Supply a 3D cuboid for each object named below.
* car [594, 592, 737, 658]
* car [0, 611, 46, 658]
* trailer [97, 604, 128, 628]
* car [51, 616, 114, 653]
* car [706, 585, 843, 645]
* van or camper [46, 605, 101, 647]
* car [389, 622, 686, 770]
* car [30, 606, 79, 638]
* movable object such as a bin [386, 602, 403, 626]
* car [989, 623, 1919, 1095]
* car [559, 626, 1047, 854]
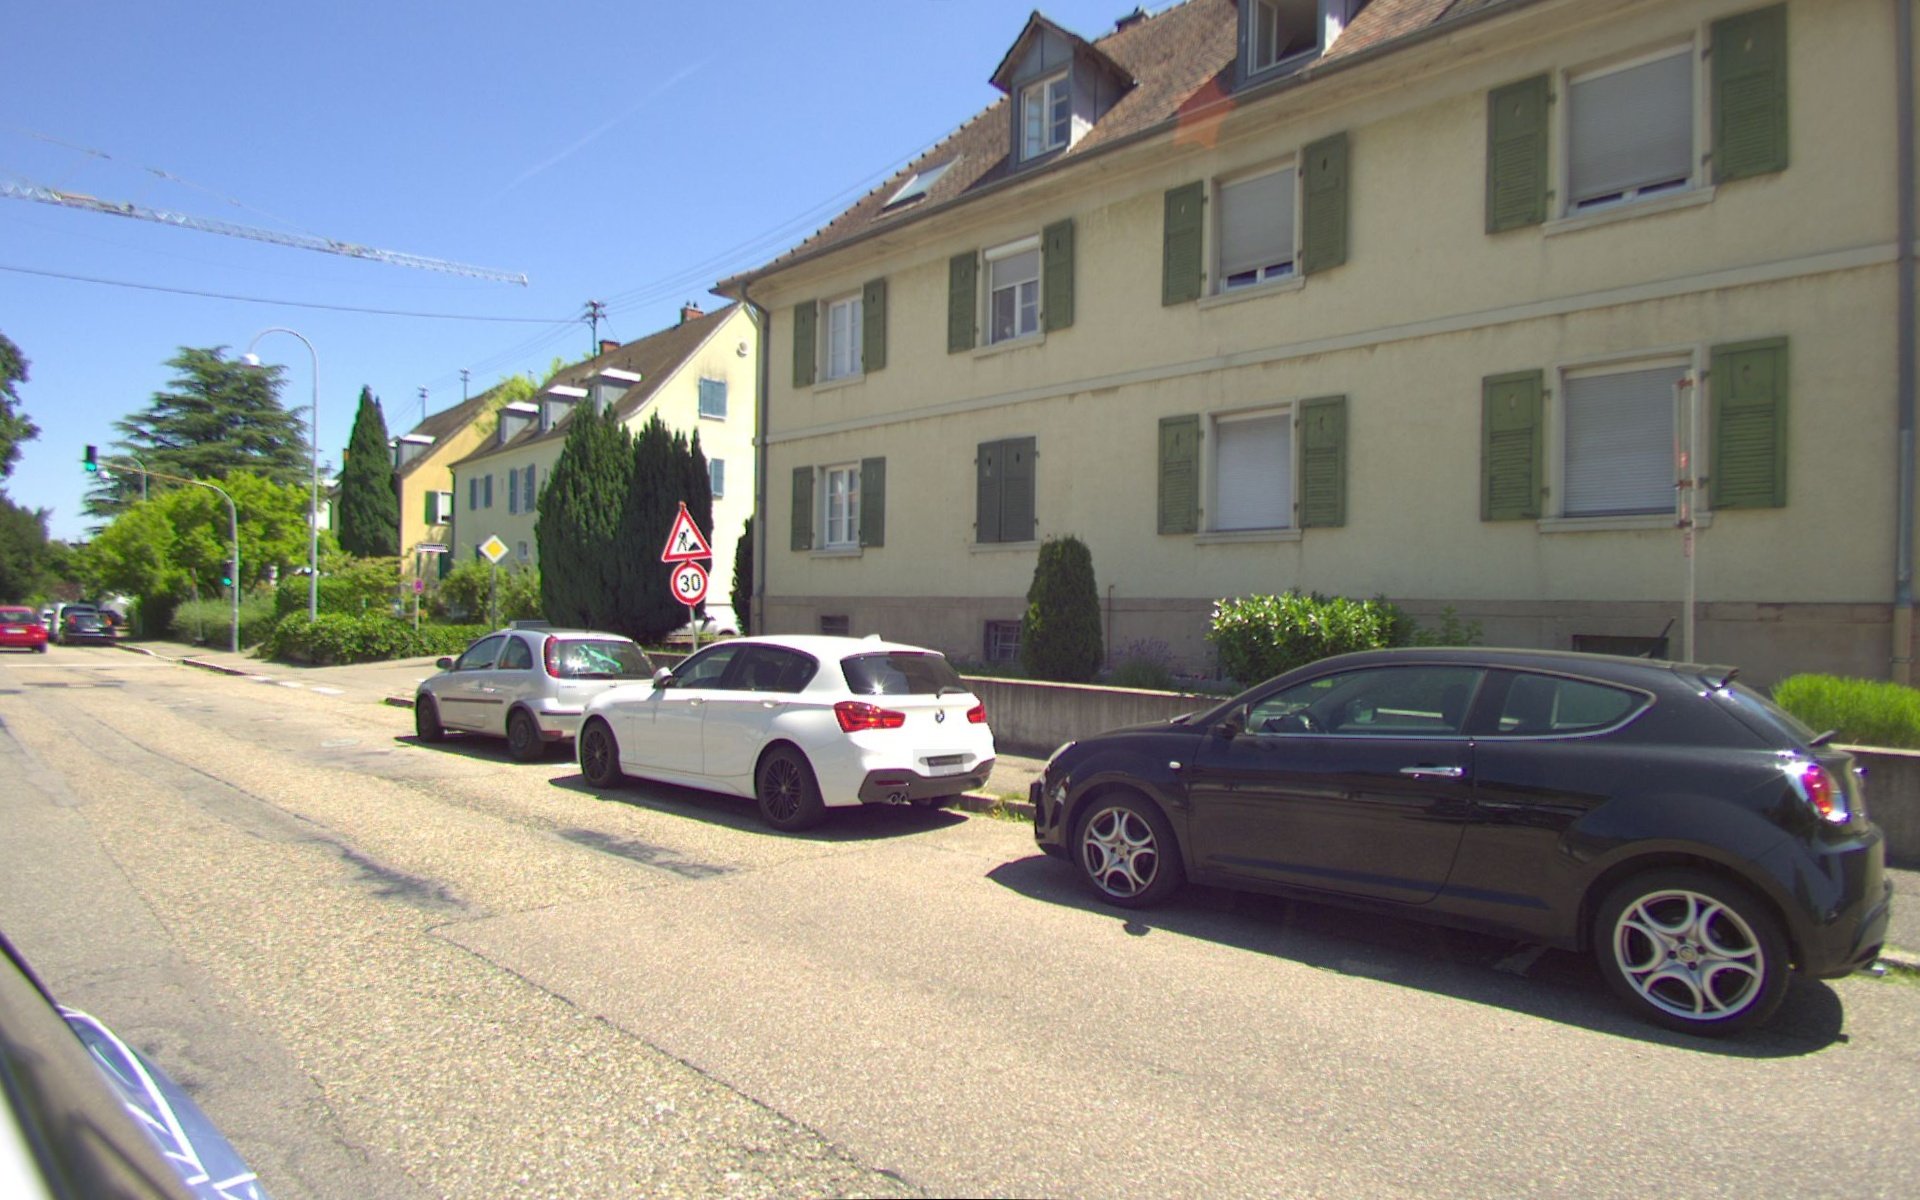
[{"bbox_3d":[-7.779,0.607,26.855,3.163,1.467,1.737,-5,4,-41],"label":"car"},{"bbox_3d":[-33.557,1.168,35.526,3.696,1.578,1.795,0,-2,42],"label":"car"},{"bbox_3d":[-74.816,1.400,89.389,1.790,2.049,4.009,4,-3,-37],"label":"trailer"},{"bbox_3d":[-36.794,1.435,42.413,3.928,1.423,1.662,0,-3,45],"label":"car"},{"bbox_3d":[-5.449,0.390,29.906,3.537,1.467,1.751,-5,4,-41],"label":"car"},{"bbox_3d":[-40.406,1.169,46.084,1.661,1.818,3.989,3,-2,-44],"label":"van or camper"},{"bbox_3d":[-5.214,1.038,12.276,3.922,1.458,1.741,0,-2,41],"label":"car"},{"bbox_3d":[-44.341,1.072,49.593,1.660,1.452,4.252,3,-2,-42],"label":"car"},{"bbox_3d":[-29.142,0.731,52.164,0.613,1.205,0.674,1,-1,-44],"label":"movable object such as a bin"},{"bbox_3d":[2.275,0.917,5.242,4.074,1.496,1.698,0,-3,41],"label":"car"},{"bbox_3d":[-1.500,0.995,8.639,4.216,1.413,1.776,0,-4,41],"label":"car"}]
